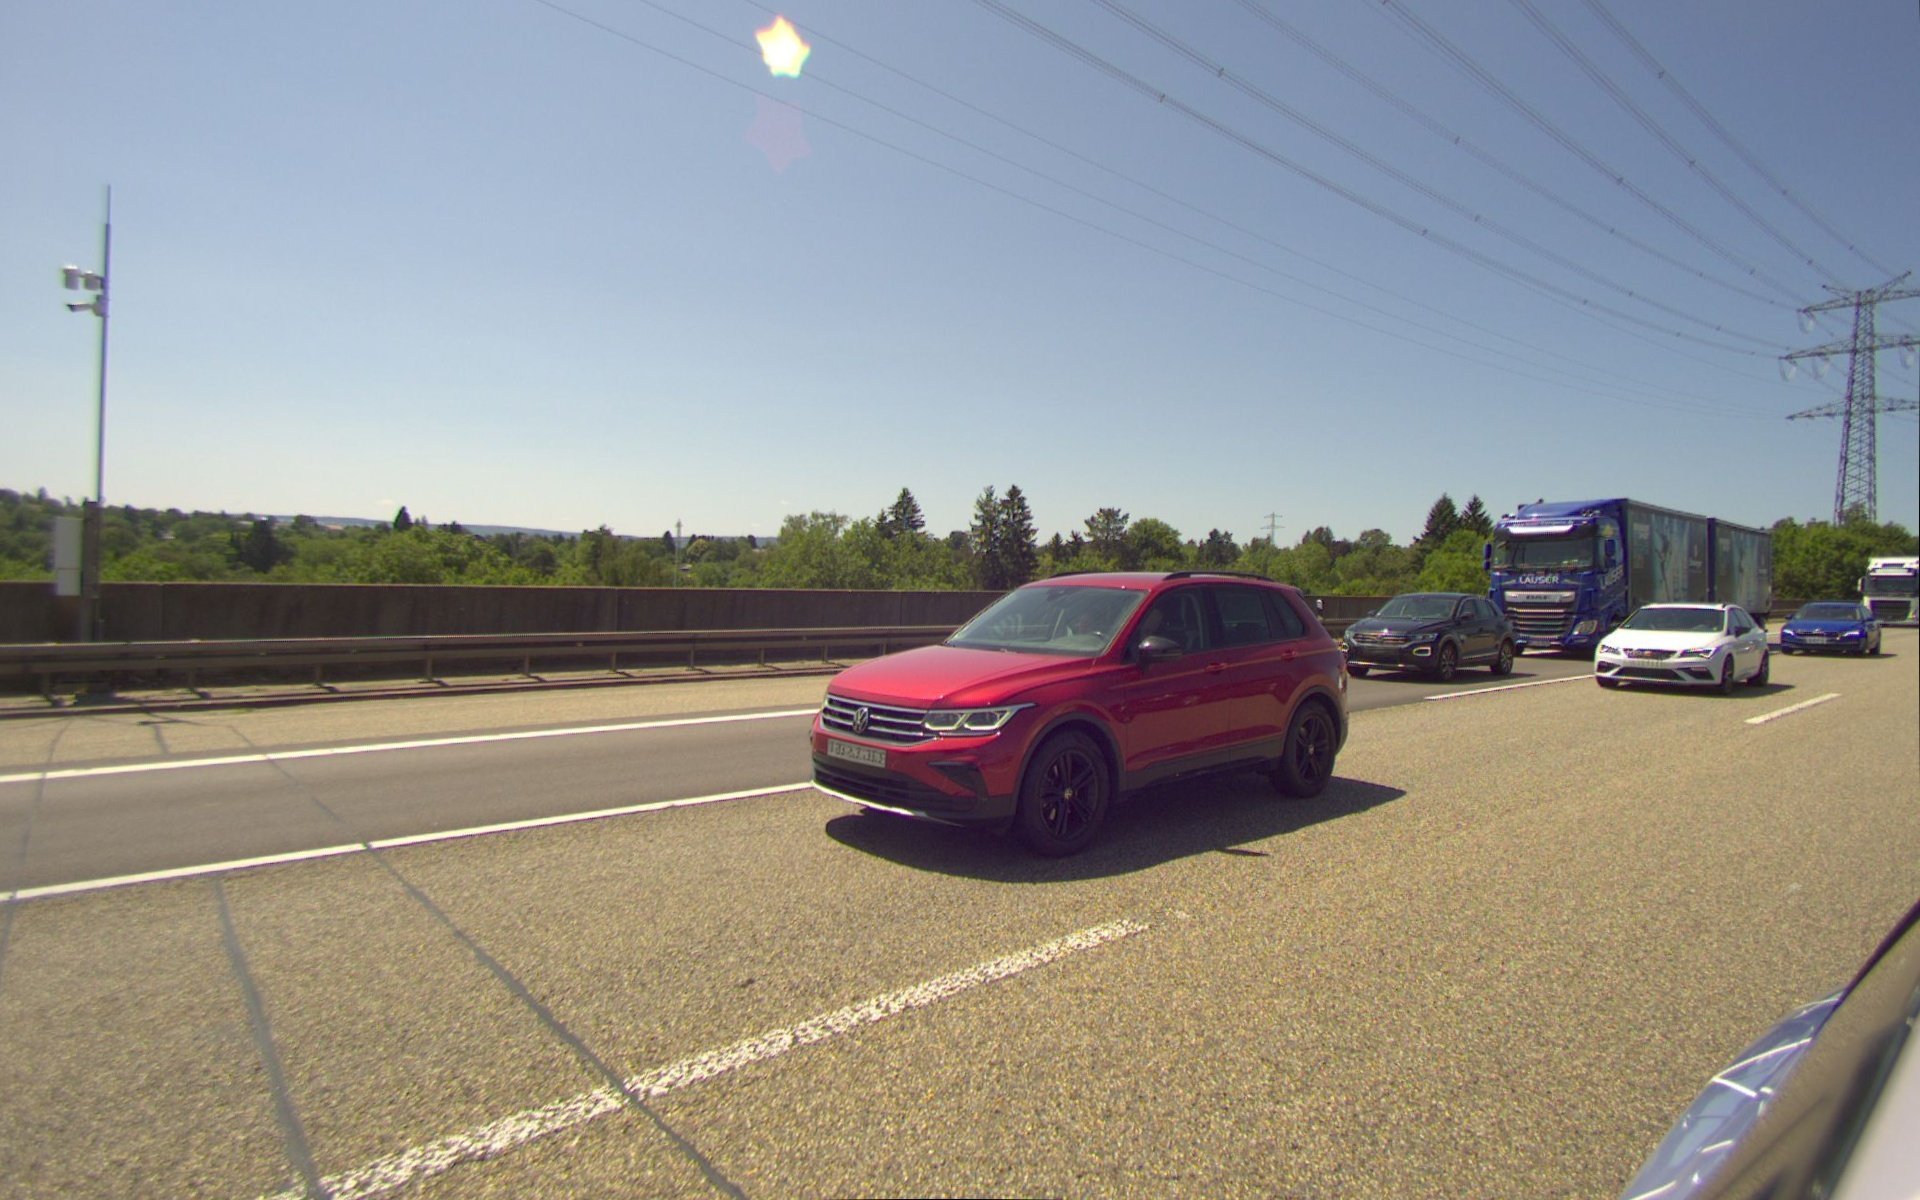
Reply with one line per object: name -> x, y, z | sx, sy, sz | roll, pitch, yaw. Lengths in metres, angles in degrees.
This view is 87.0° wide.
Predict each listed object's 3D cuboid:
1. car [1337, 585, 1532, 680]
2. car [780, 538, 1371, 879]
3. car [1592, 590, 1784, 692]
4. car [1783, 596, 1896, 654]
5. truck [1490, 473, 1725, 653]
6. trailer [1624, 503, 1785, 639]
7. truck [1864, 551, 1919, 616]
car -> 8.711, 0.510, 18.460 | 4.034, 1.546, 1.739 | 0, 0, -41
car -> 1.006, 0.517, 7.054 | 4.151, 1.683, 1.778 | 0, 1, -41
car -> 12.269, 0.594, 16.975 | 4.003, 1.508, 1.841 | 0, 0, -42
car -> 24.475, 0.642, 28.122 | 4.135, 1.463, 1.739 | 0, 1, -40
truck -> 17.810, -0.889, 27.406 | 10.265, 4.117, 2.527 | 0, 1, -41
trailer -> 24.822, -0.849, 33.545 | 8.331, 3.995, 2.570 | 0, 0, -41
truck -> 56.895, -0.972, 60.440 | 10.776, 3.604, 2.982 | -1, 0, -41
